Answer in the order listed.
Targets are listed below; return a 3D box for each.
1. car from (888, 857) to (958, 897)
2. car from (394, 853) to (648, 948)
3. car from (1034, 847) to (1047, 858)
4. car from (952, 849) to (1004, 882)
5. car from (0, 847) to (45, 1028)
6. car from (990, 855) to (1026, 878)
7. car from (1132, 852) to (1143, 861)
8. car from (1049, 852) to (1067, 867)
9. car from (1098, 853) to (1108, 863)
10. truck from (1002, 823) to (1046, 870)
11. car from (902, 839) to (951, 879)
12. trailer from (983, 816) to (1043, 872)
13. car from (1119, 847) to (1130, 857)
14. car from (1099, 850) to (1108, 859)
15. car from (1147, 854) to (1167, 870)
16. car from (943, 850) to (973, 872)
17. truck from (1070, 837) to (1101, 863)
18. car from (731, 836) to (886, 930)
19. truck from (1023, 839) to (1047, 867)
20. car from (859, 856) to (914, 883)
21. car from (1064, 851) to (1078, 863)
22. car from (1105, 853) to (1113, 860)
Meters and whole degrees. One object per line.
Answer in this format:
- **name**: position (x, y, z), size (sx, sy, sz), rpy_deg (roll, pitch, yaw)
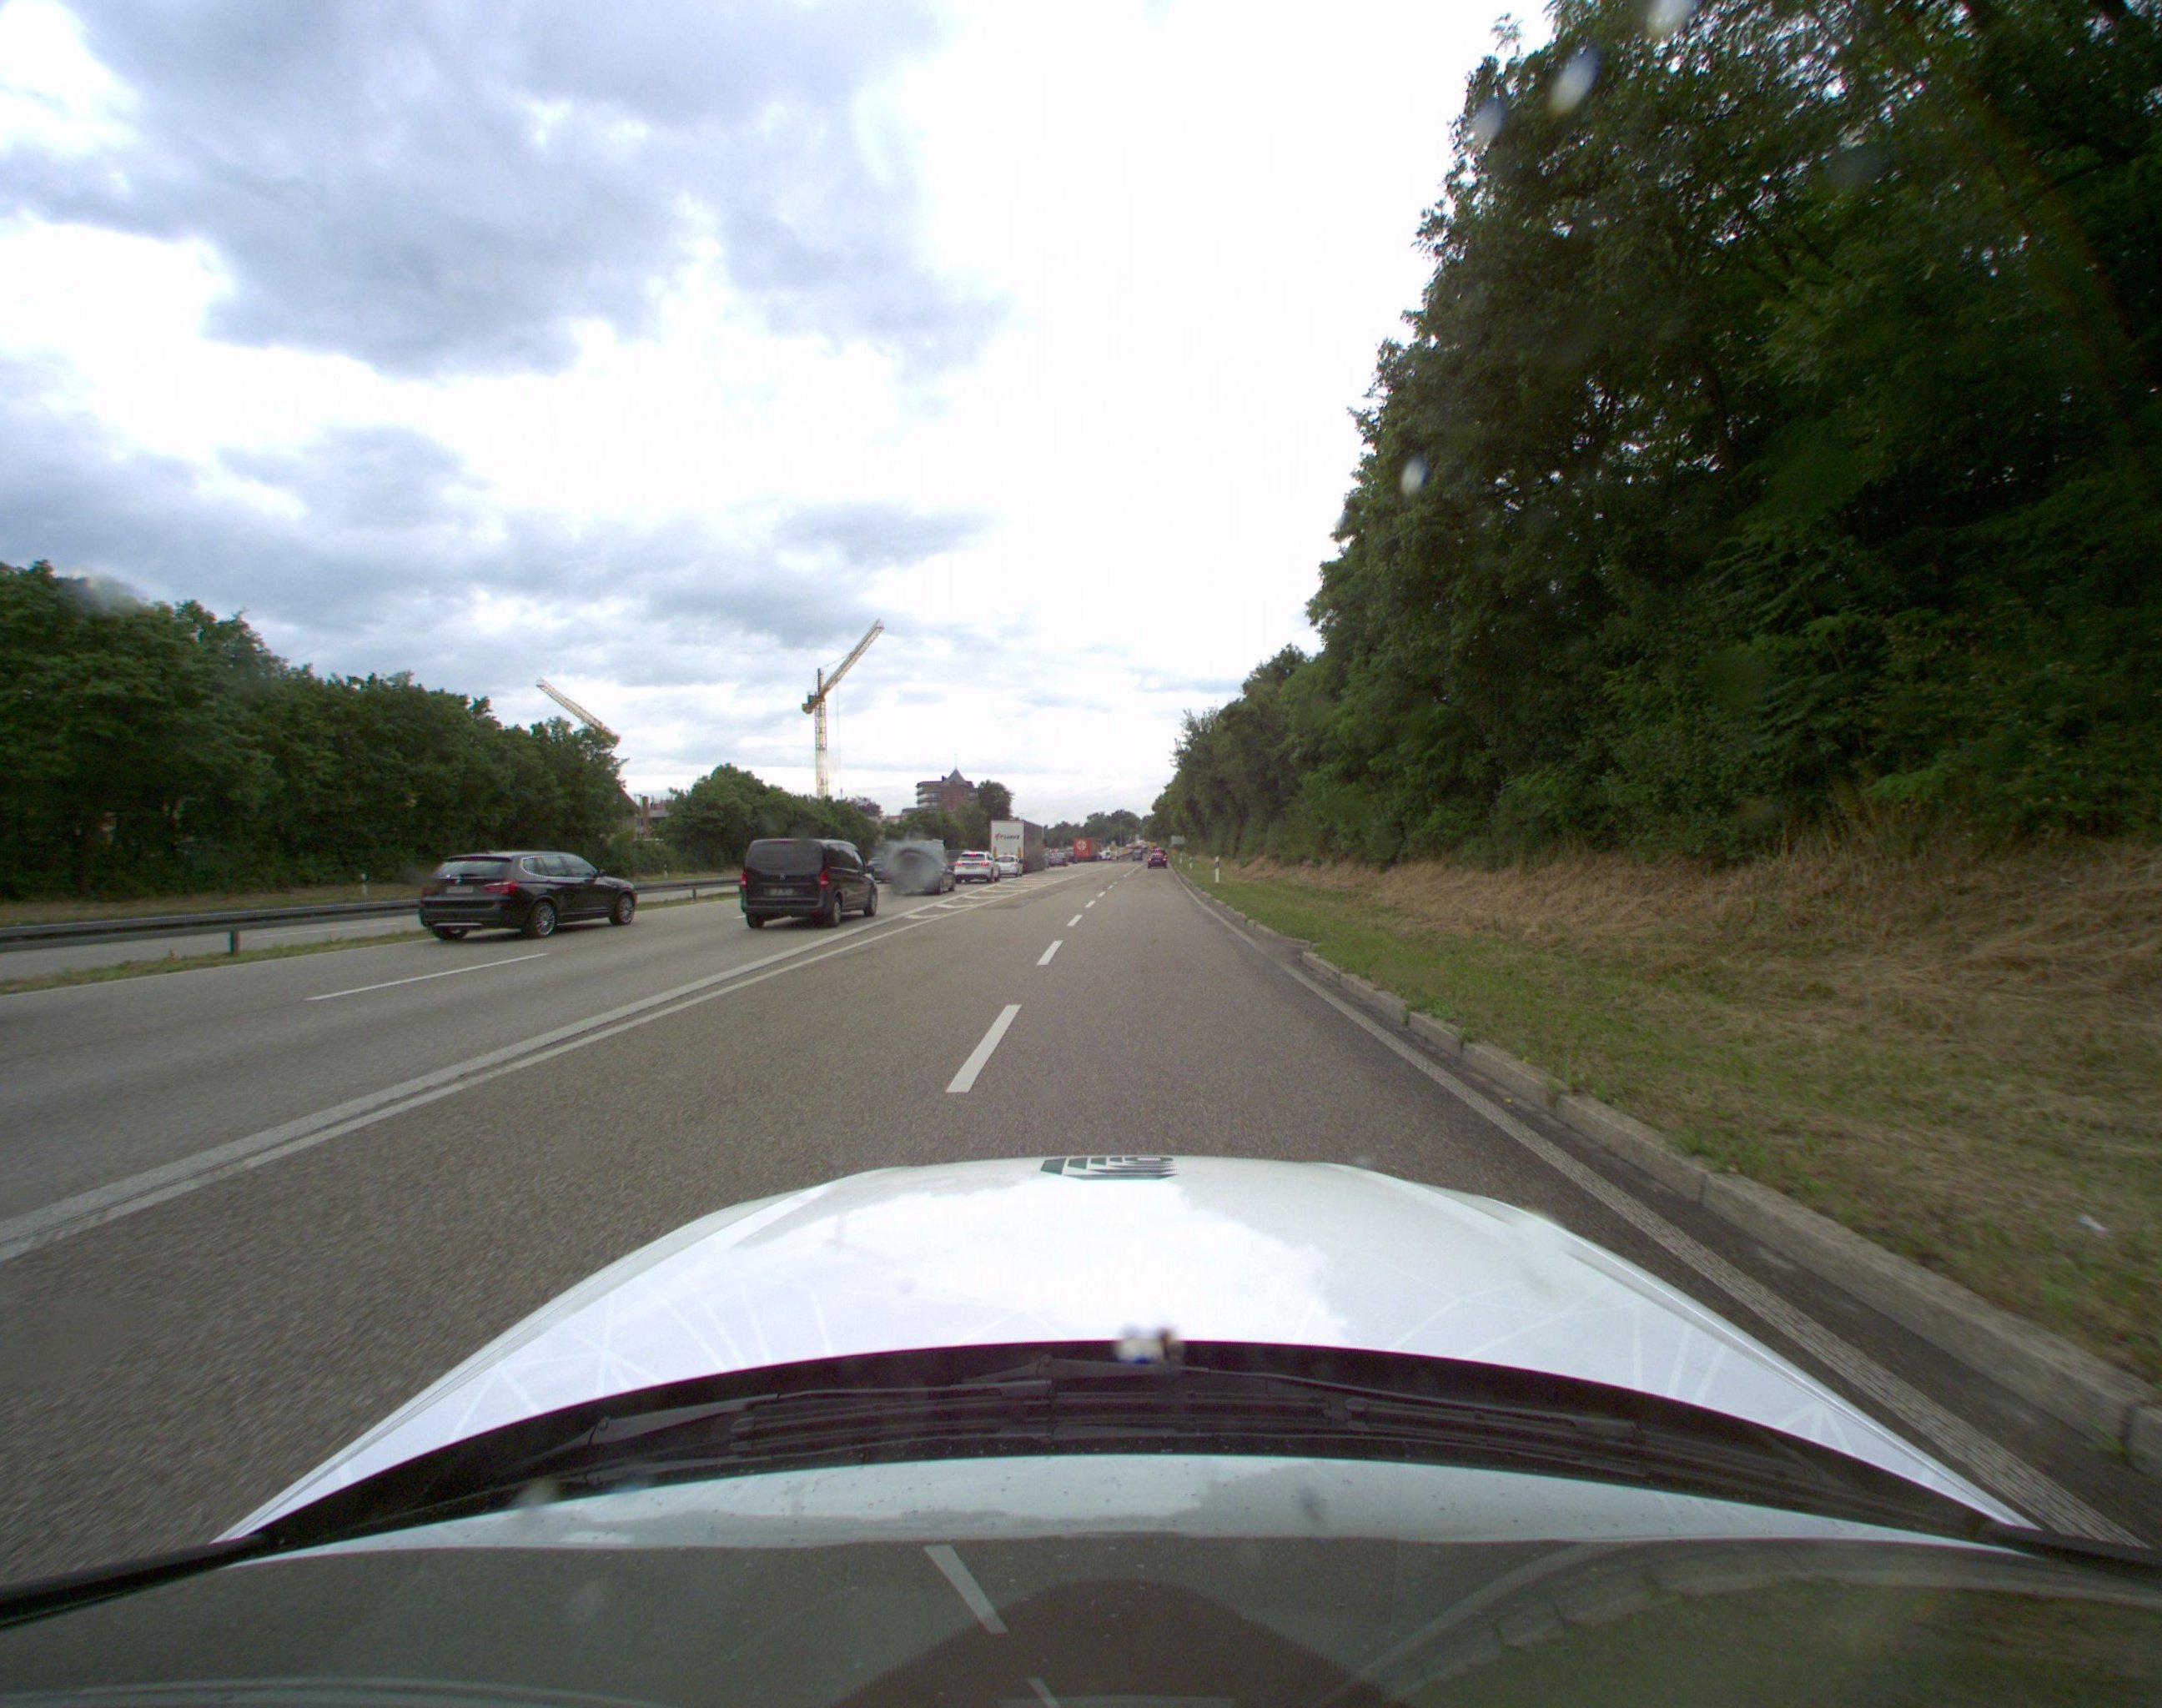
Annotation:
- **car**: position (-6.192, 0.875, 32.465), size (1.841, 1.460, 4.830), rpy_deg (0, -1, 0)
- **car**: position (-11.006, 0.805, 16.533), size (1.854, 1.613, 4.652), rpy_deg (-1, 0, 1)
- **car**: position (-8.000, -0.329, 160.127), size (1.984, 2.013, 4.006), rpy_deg (-1, 0, 5)
- **car**: position (-5.526, 0.622, 44.144), size (1.948, 1.695, 4.869), rpy_deg (0, -1, 3)
- **car**: position (-10.749, 0.783, 5.416), size (1.741, 1.655, 4.681), rpy_deg (-1, 0, -1)
- **car**: position (-4.807, 0.812, 54.093), size (1.757, 1.478, 4.092), rpy_deg (1, 0, 3)
- **car**: position (9.795, 0.343, 140.302), size (1.817, 1.482, 4.004), rpy_deg (-2, 0, 4)
- **car**: position (-2.581, 0.613, 93.319), size (1.710, 1.684, 4.004), rpy_deg (0, -1, 4)
- **car**: position (4.324, 0.821, 160.500), size (1.606, 1.948, 3.712), rpy_deg (0, -1, 7)
- **truck**: position (-4.941, -0.609, 72.282), size (3.187, 3.947, 7.076), rpy_deg (0, -1, 2)
- **car**: position (-10.395, 0.317, 55.098), size (1.985, 2.553, 5.365), rpy_deg (-1, 0, 3)
- **trailer**: position (-5.251, -0.669, 65.691), size (3.286, 4.036, 13.103), rpy_deg (0, -1, 2)
- **car**: position (8.520, -0.357, 159.563), size (1.943, 2.013, 4.003), rpy_deg (-1, 0, 3)
- **car**: position (4.781, 0.132, 171.799), size (1.607, 1.948, 3.710), rpy_deg (0, -1, 5)
- **car**: position (7.306, 0.762, 78.410), size (1.816, 1.482, 4.006), rpy_deg (-2, 0, 5)
- **car**: position (-10.050, 0.581, 66.704), size (1.710, 1.682, 4.001), rpy_deg (0, -1, 2)
- **truck**: position (0.856, -0.722, 136.489), size (3.471, 4.073, 13.619), rpy_deg (-2, 0, 7)
- **car**: position (-6.122, 0.596, 19.007), size (1.982, 1.898, 4.983), rpy_deg (0, 0, -1)
- **truck**: position (-6.969, -0.104, 124.614), size (2.728, 4.138, 10.699), rpy_deg (0, -1, 1)
- **car**: position (-10.750, 0.838, 45.335), size (1.706, 1.448, 4.705), rpy_deg (0, -1, 3)
- **car**: position (-1.369, 0.467, 115.435), size (1.710, 1.684, 4.004), rpy_deg (0, -1, 4)
- **car**: position (6.412, 0.534, 188.193), size (1.771, 1.482, 4.001), rpy_deg (-1, 0, 1)
